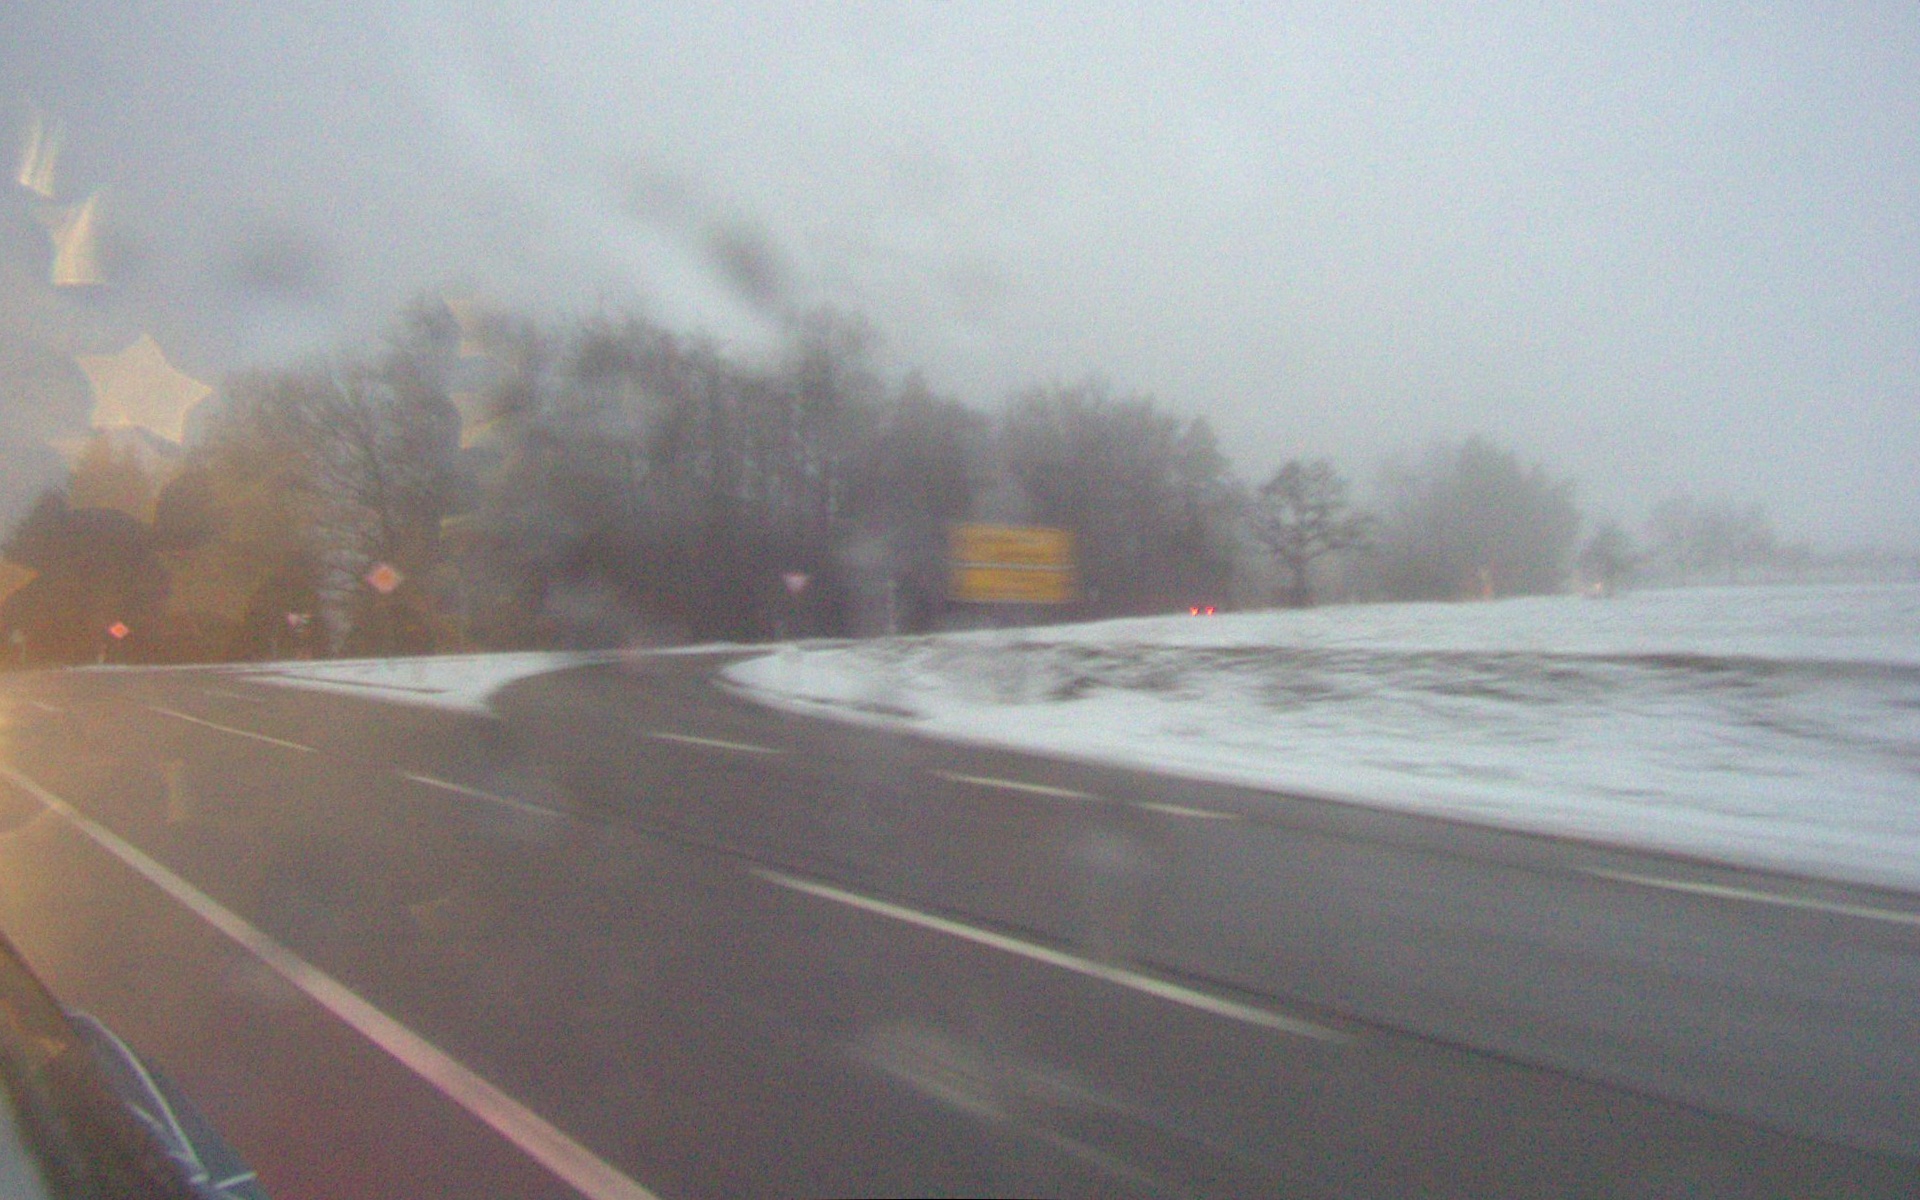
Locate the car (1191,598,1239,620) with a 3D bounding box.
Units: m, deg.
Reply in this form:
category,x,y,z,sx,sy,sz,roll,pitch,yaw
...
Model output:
category,x,y,z,sx,sy,sz,roll,pitch,yaw
car,17.722,0.638,70.198,3.360,1.463,1.579,0,-3,-42
